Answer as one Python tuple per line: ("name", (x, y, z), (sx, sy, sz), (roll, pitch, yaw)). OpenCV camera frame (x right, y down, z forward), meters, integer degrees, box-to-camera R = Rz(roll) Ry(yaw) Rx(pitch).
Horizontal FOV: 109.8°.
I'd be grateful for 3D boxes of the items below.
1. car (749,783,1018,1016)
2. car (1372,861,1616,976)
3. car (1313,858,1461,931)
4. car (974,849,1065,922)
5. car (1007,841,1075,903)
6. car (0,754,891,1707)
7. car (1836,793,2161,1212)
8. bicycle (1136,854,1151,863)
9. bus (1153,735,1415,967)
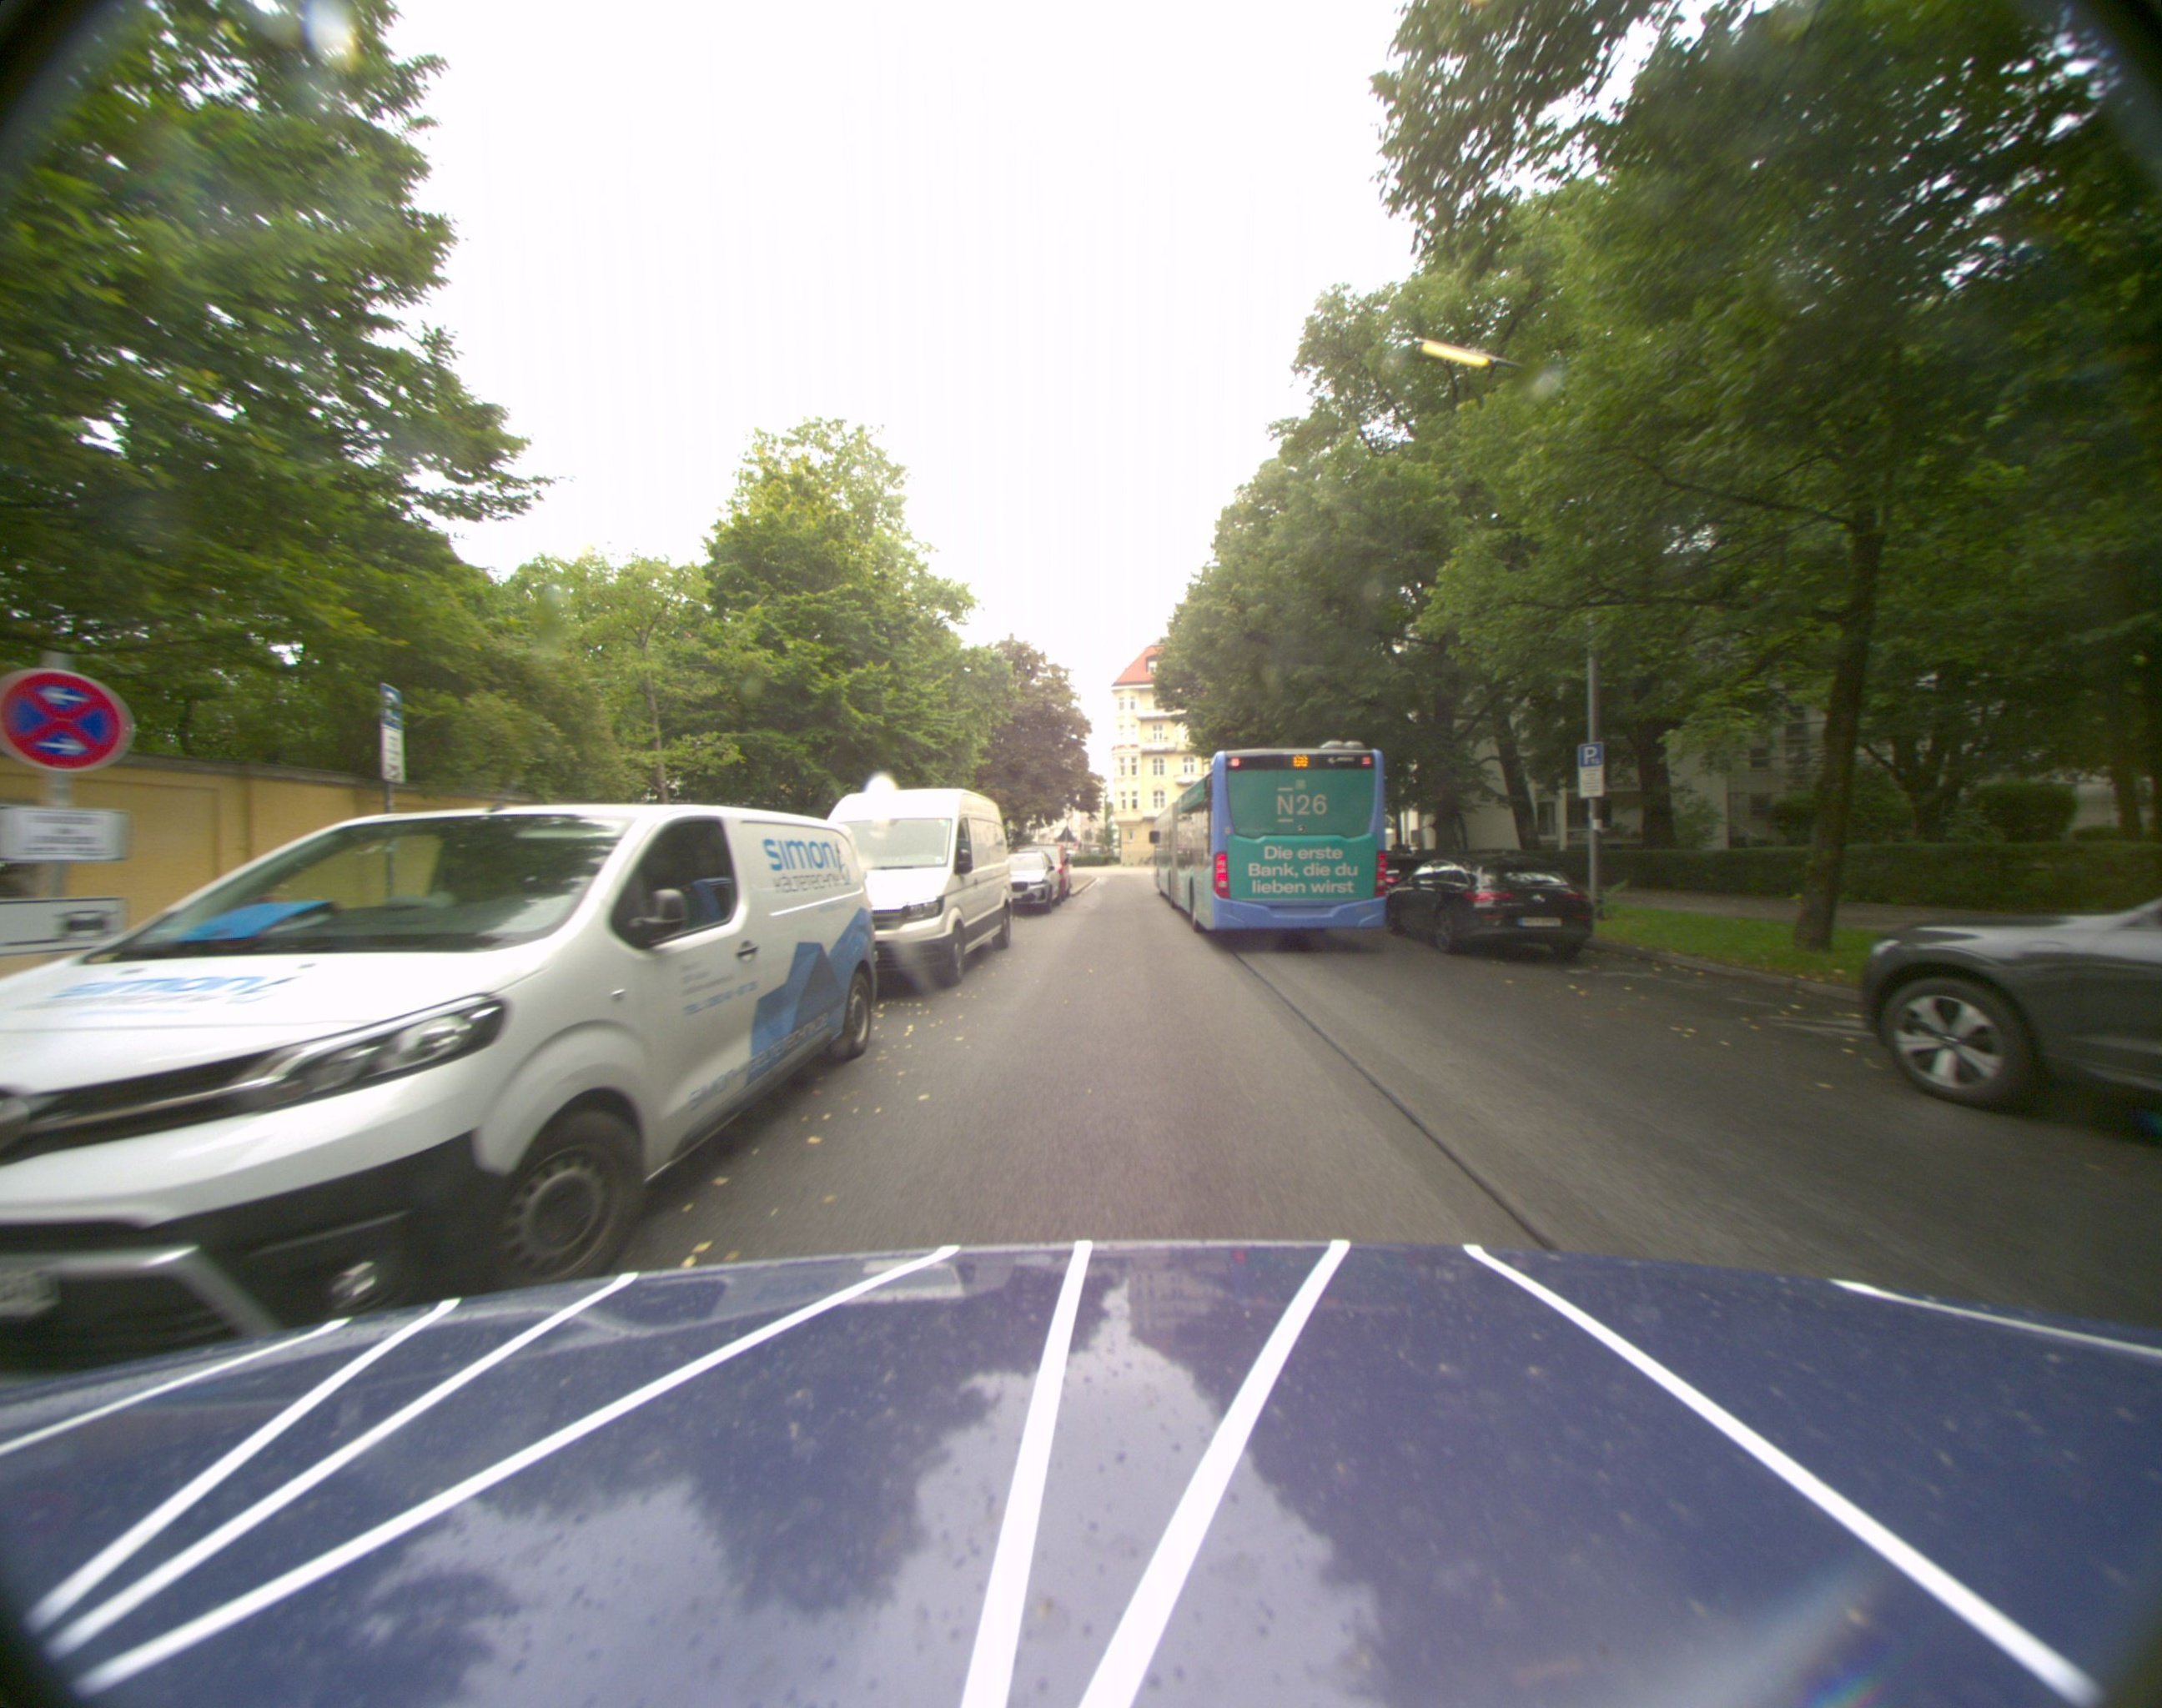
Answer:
("car", (-2.357, 0.436, 10.991), (2.100, 2.473, 5.739), (-1, 1, 3))
("car", (6.125, 0.847, 11.963), (1.793, 1.429, 4.554), (-1, 0, 7))
("car", (6.709, 0.811, 17.220), (1.794, 1.429, 4.580), (-1, 0, 4))
("car", (-1.585, 0.774, 21.303), (1.863, 1.731, 4.603), (-2, 0, 3))
("car", (-1.292, 0.577, 26.918), (1.863, 1.956, 5.445), (-1, 0, 3))
("car", (-2.723, 0.785, 4.021), (2.018, 1.895, 5.163), (-2, 0, 1))
("car", (5.666, 0.655, 2.585), (1.788, 1.866, 4.548), (-1, 1, 2))
("bicycle", (7.225, 0.497, 87.746), (1.783, 0.986, 0.543), (-1, 2, 7))
("bus", (3.722, -0.229, 19.903), (2.866, 3.221, 18.425), (-1, 1, 3))
